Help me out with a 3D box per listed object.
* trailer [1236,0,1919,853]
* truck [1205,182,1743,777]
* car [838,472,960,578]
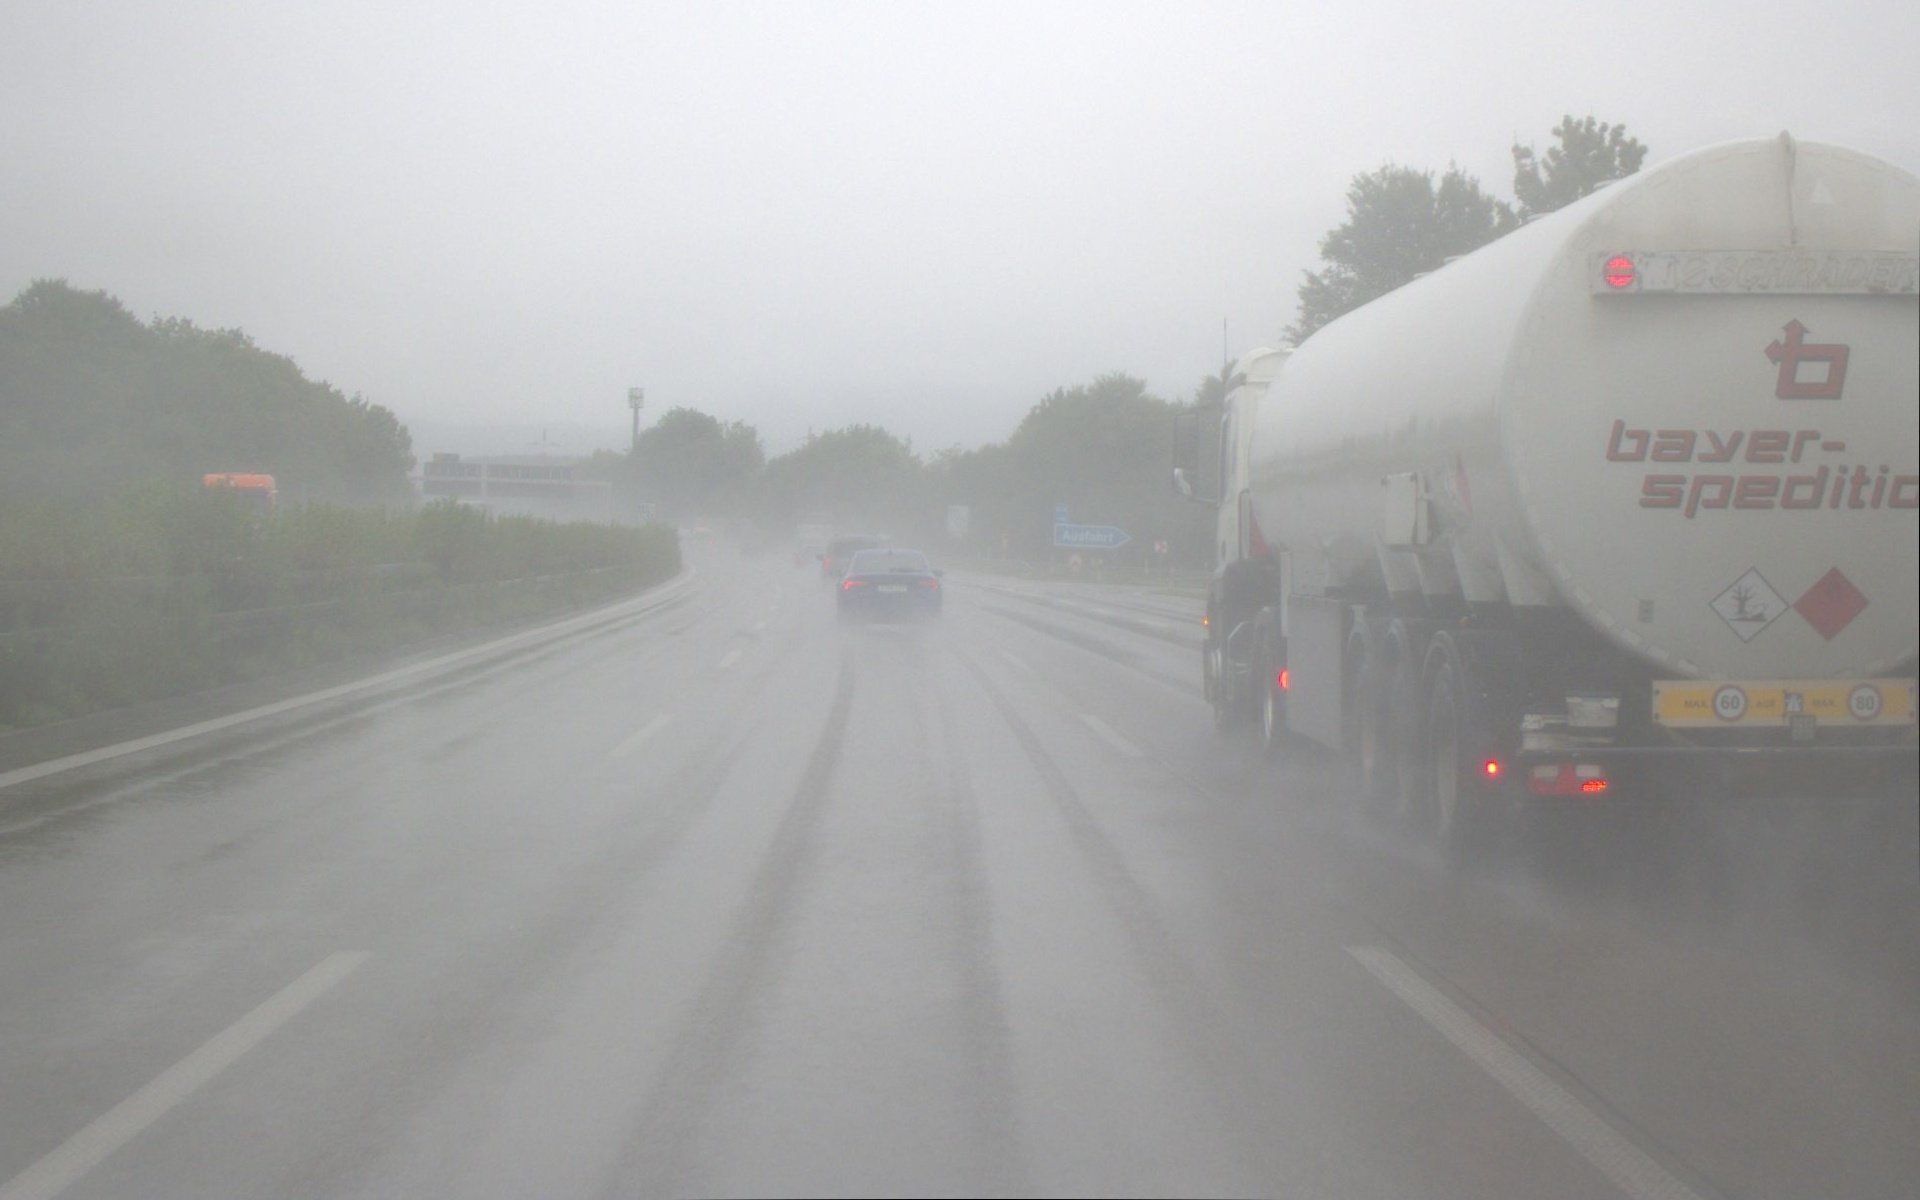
[{"bbox_3d":[3.307,-0.922,19.135,3.005,3.834,8.624,1,1,1],"label":"trailer"},{"bbox_3d":[3.418,-0.812,24.554,2.943,3.671,6.362,1,1,1],"label":"truck"},{"bbox_3d":[-1.089,-1.327,59.315,1.978,1.750,4.482,0,2,-2],"label":"car"}]
